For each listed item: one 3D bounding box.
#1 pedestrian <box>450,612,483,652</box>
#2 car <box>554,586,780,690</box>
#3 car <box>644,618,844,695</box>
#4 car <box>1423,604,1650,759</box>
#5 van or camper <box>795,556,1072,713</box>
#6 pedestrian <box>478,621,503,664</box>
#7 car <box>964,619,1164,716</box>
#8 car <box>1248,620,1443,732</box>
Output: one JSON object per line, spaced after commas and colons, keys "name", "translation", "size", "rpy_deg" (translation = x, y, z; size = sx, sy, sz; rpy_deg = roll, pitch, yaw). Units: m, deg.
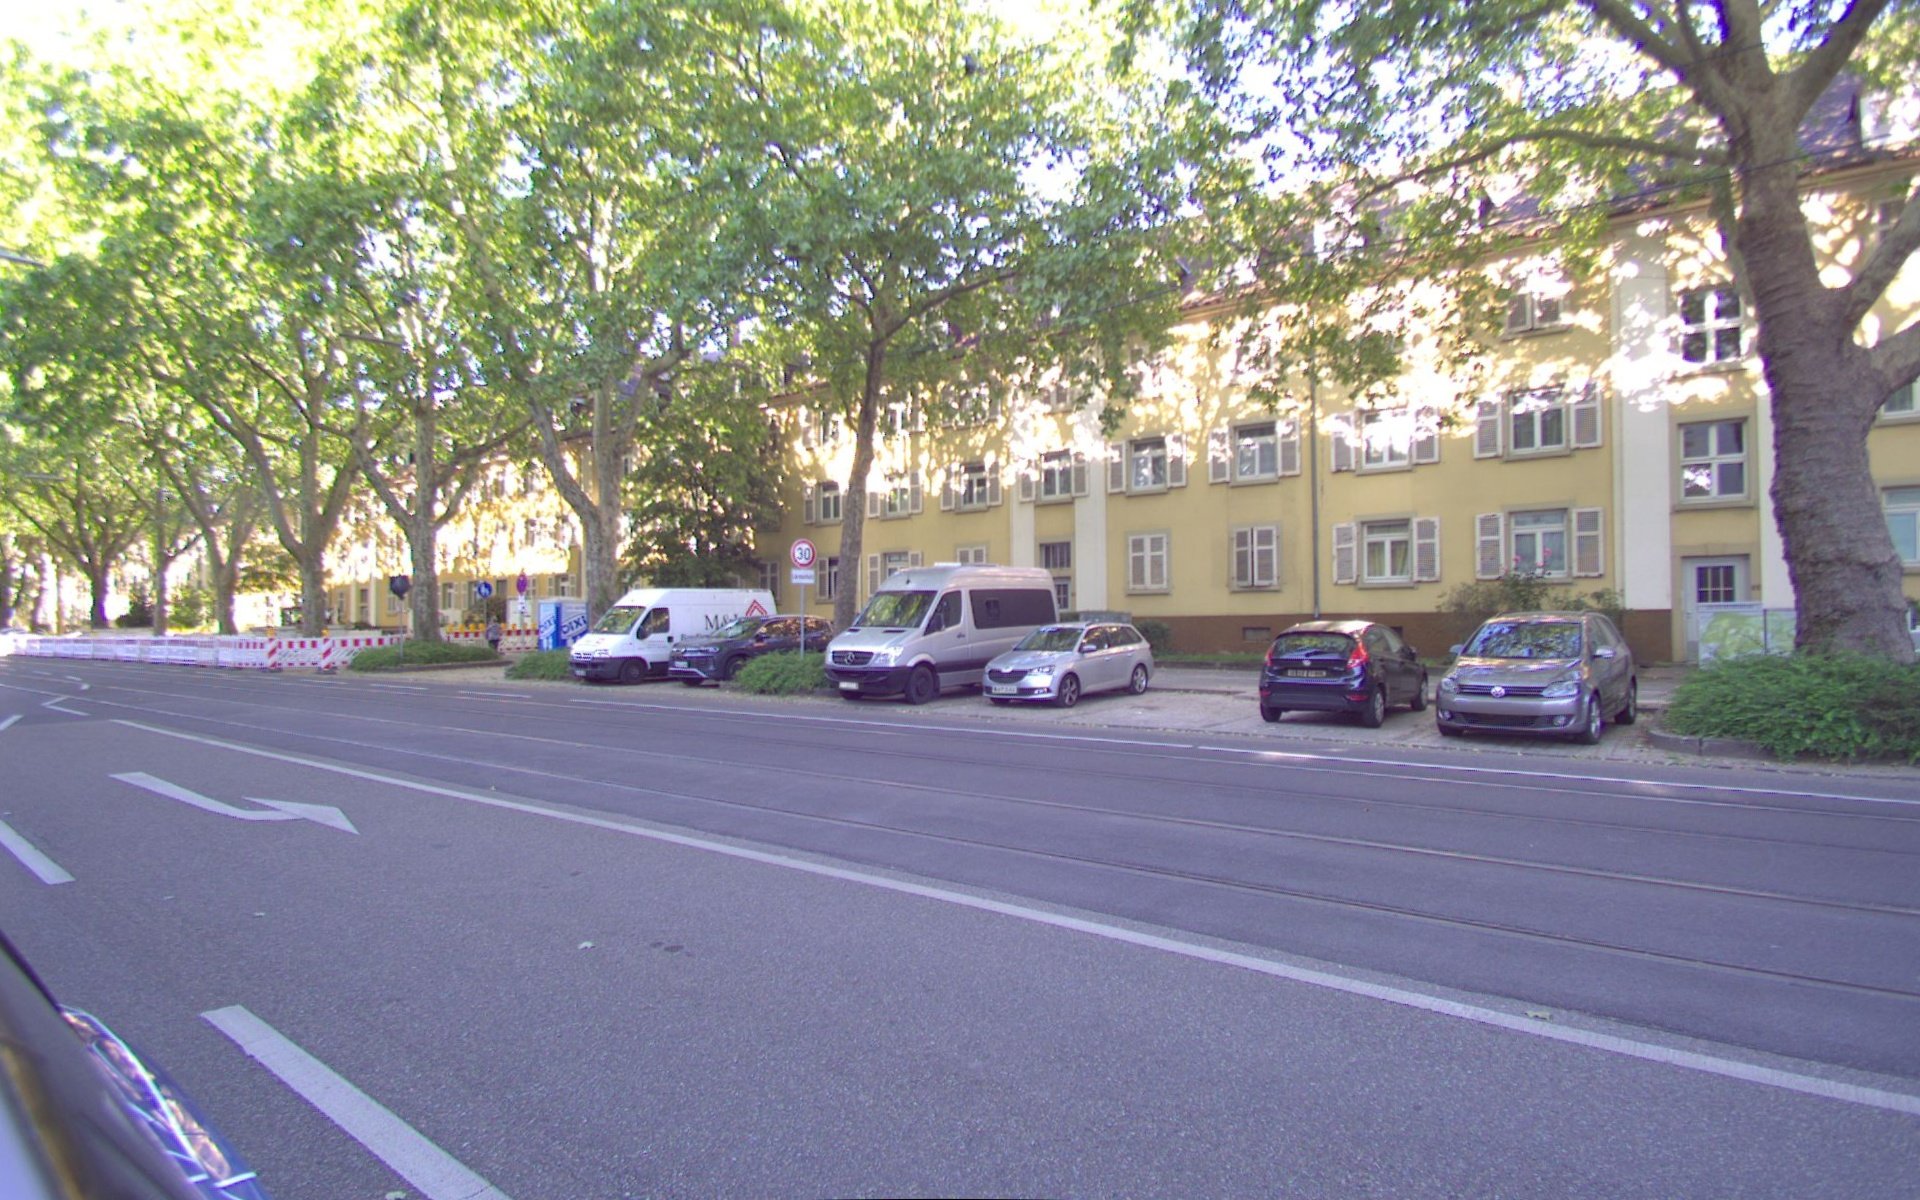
{"name": "pedestrian", "translation": [-25.579, 1.668, 52.463], "size": [1.233, 2.029, 1.085], "rpy_deg": [-2, -2, 36]}
{"name": "car", "translation": [-7.436, 0.949, 26.286], "size": [2.023, 2.394, 5.543], "rpy_deg": [-2, -2, 38]}
{"name": "car", "translation": [-5.082, 1.275, 24.367], "size": [1.967, 1.643, 4.520], "rpy_deg": [-2, -2, 38]}
{"name": "car", "translation": [7.745, 0.927, 13.413], "size": [1.814, 1.617, 4.145], "rpy_deg": [-2, 0, 41]}
{"name": "van or camper", "translation": [-0.308, 0.613, 20.489], "size": [2.227, 2.697, 6.052], "rpy_deg": [-2, -1, 38]}
{"name": "pedestrian", "translation": [-17.801, 1.602, 38.365], "size": [0.716, 1.585, 0.589], "rpy_deg": [-2, -2, 39]}
{"name": "car", "translation": [2.045, 1.158, 18.905], "size": [1.729, 1.481, 4.102], "rpy_deg": [0, 1, 40]}
{"name": "car", "translation": [5.914, 1.049, 15.327], "size": [1.740, 1.440, 3.528], "rpy_deg": [-2, -1, 39]}
